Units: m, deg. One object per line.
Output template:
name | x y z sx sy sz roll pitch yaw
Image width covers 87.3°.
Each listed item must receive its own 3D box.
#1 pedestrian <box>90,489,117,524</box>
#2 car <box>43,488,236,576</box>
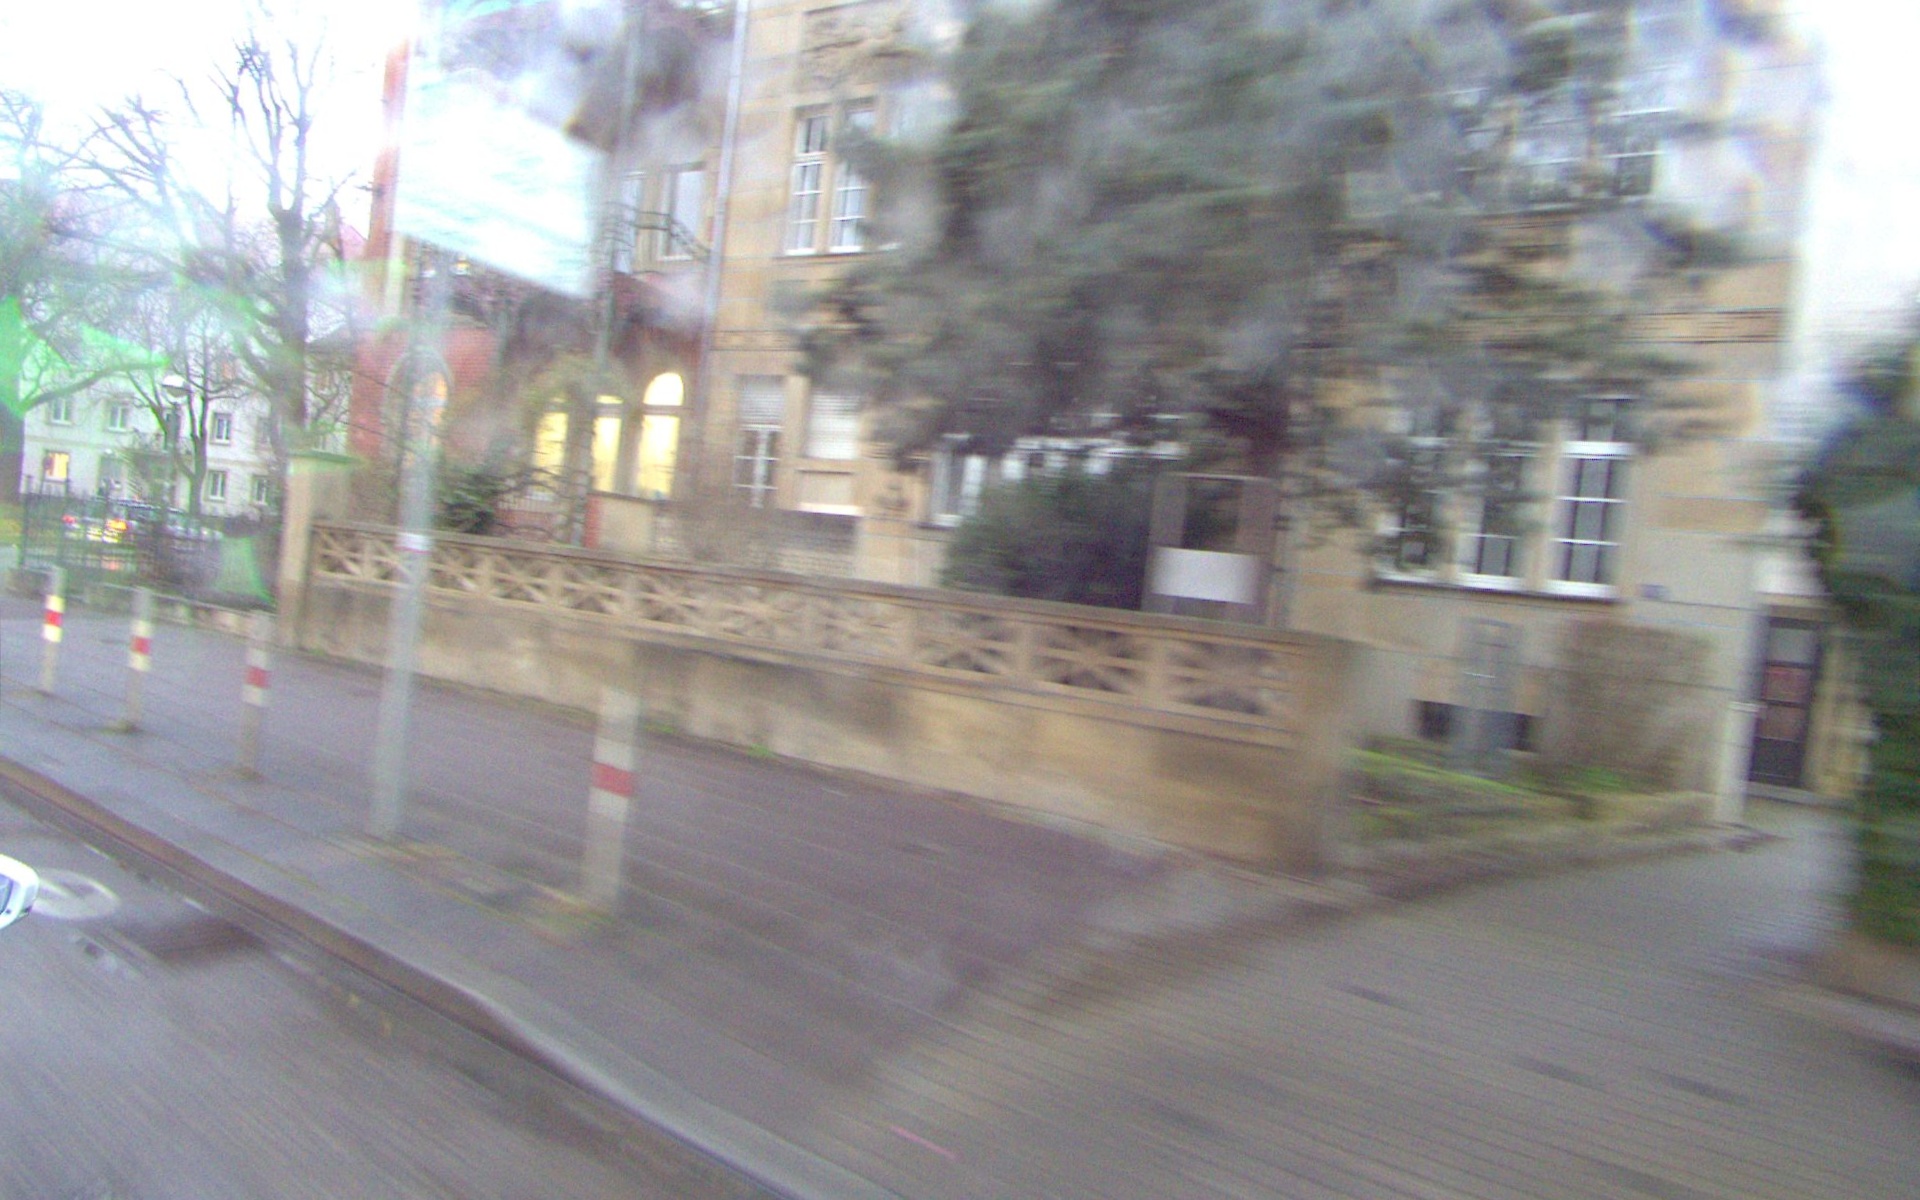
pedestrian | -45.596 -4.971 53.558 0.702 1.682 0.687 6 1 -2
car | -22.843 -1.811 28.272 1.775 1.747 4.343 8 -3 -3
